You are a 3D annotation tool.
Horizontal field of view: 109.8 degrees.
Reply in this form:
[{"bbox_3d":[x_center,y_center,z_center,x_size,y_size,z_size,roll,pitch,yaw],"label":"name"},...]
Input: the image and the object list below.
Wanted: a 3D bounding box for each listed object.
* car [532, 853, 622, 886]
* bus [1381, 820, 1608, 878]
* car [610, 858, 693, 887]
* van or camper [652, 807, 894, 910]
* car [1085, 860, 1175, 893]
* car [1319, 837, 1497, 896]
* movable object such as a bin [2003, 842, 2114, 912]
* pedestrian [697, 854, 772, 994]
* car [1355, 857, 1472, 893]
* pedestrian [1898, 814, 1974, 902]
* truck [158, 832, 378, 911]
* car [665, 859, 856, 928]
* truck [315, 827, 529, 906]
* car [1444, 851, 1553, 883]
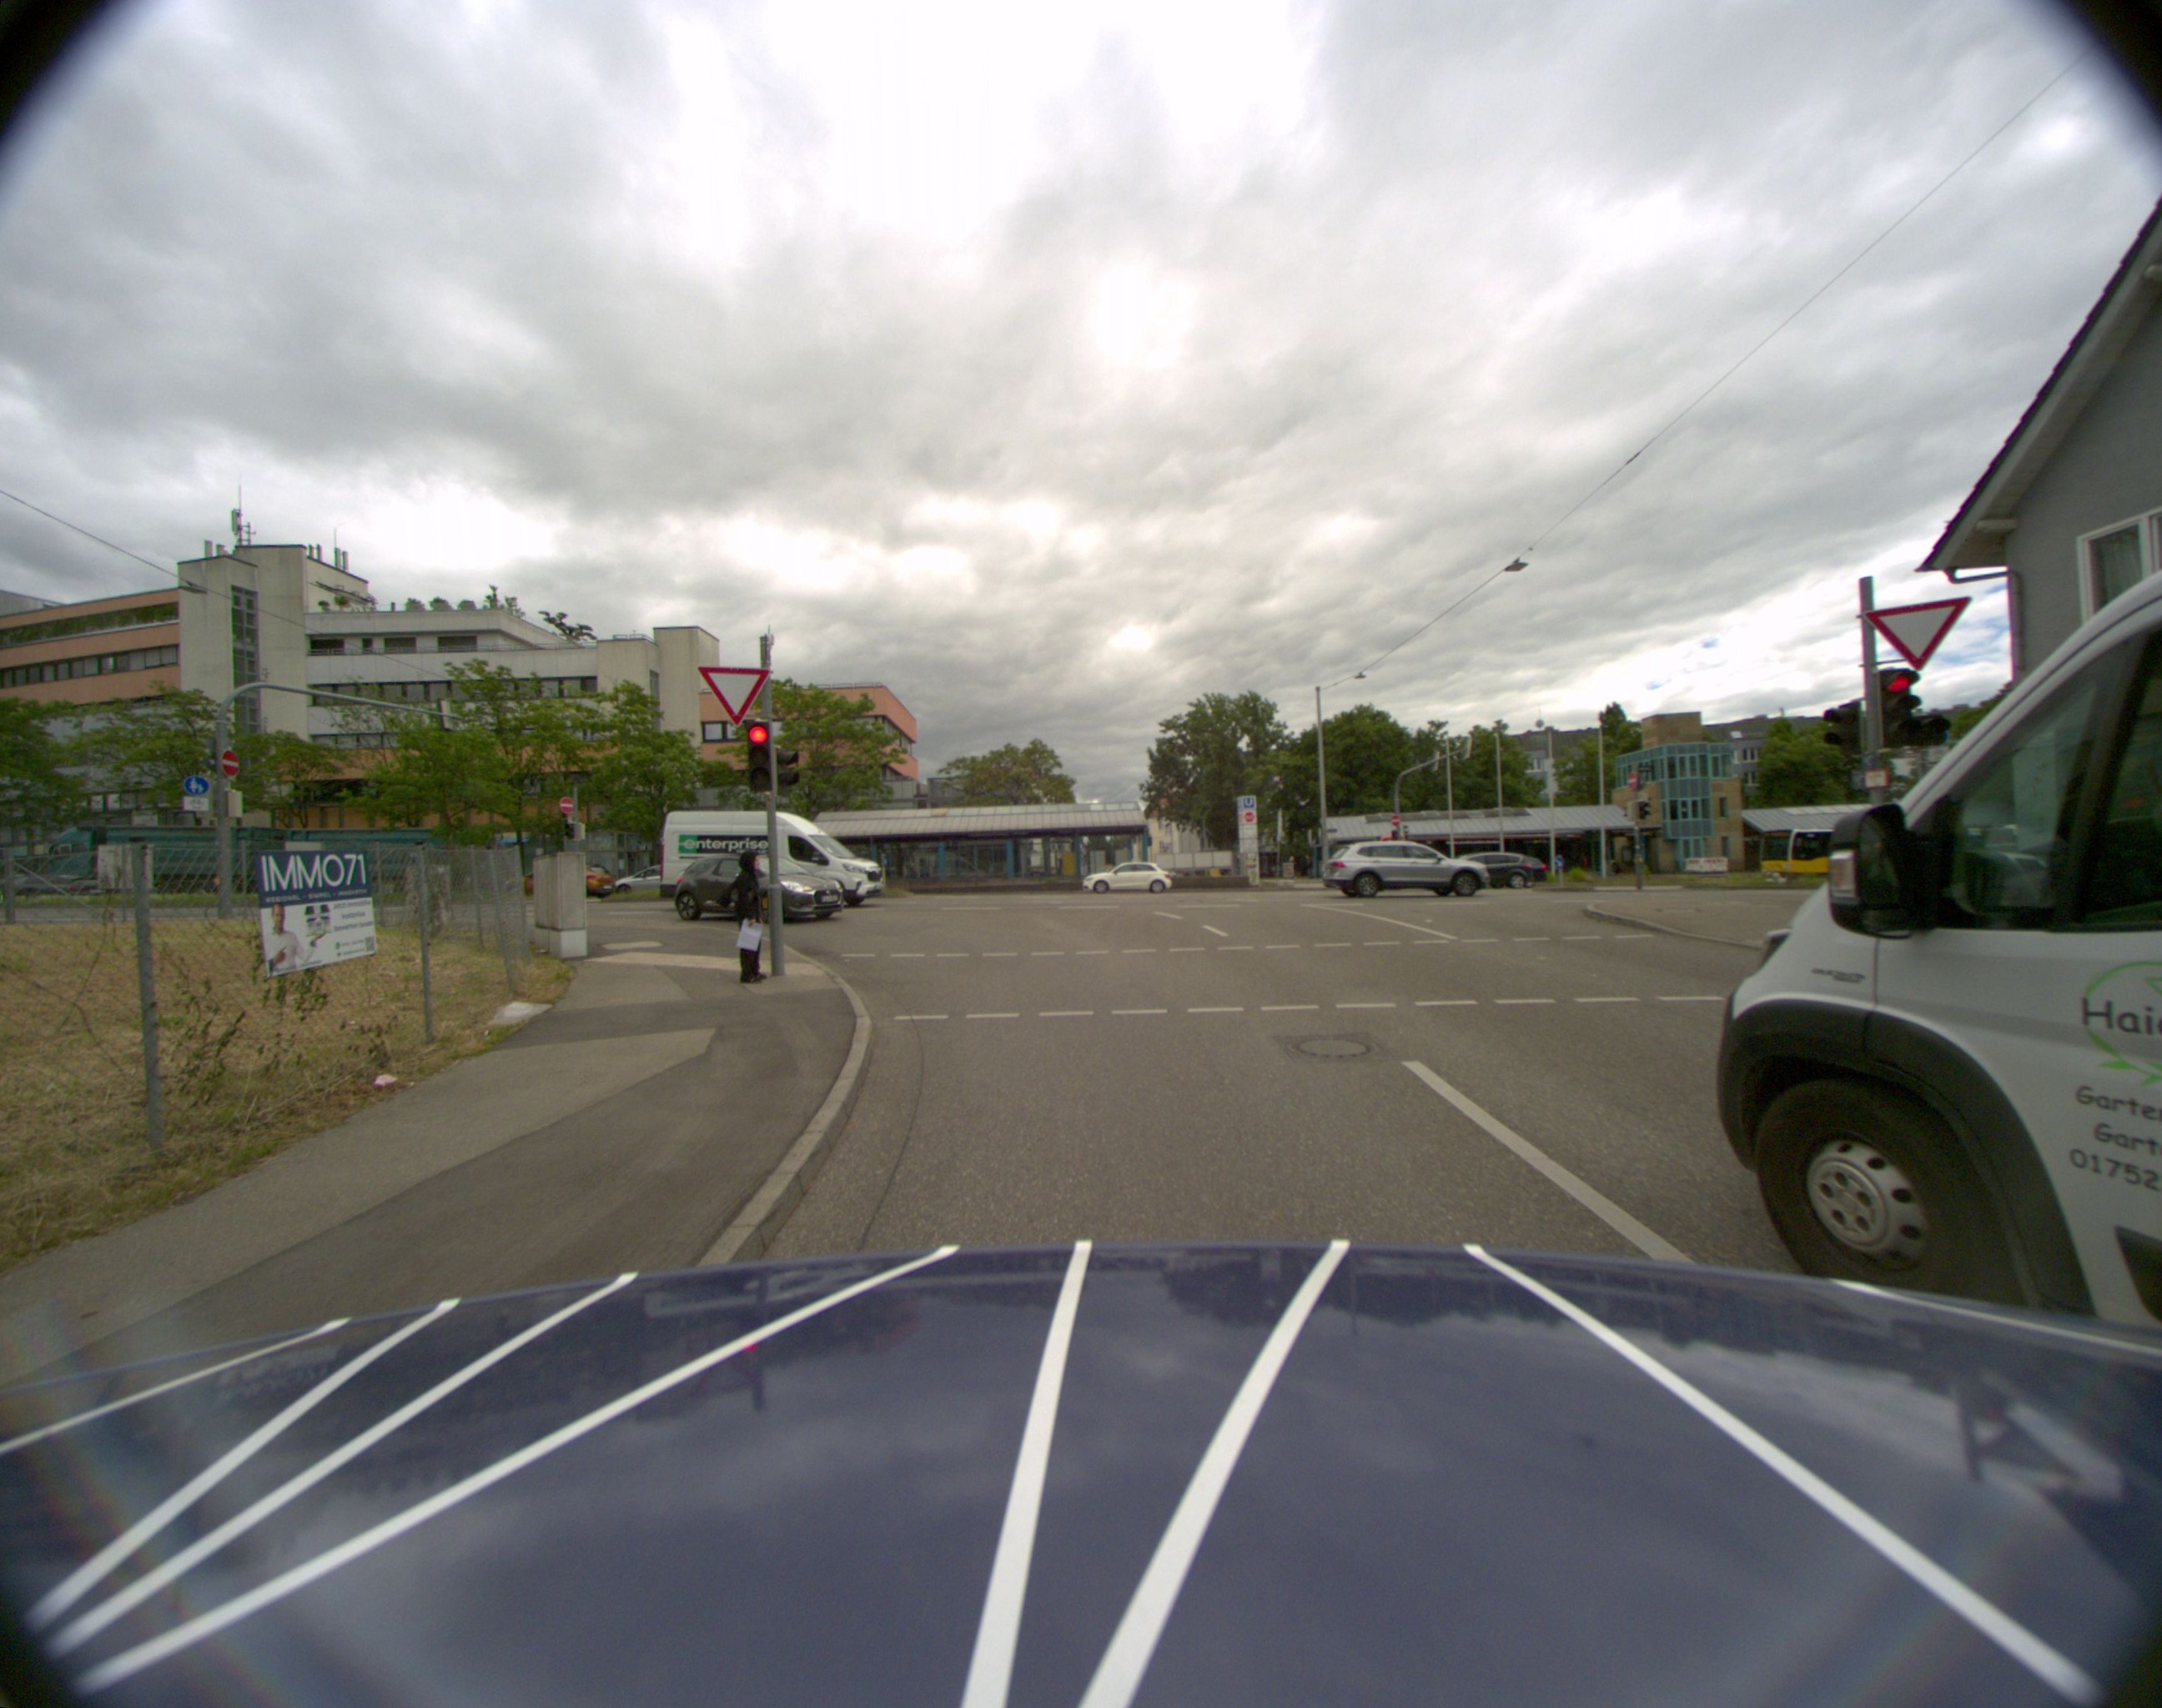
[{"bbox_3d":[-20.996,0.642,31.694,2.994,1.305,1.210,1,1,2],"label":"car"},{"bbox_3d":[24.172,-0.216,44.911,11.842,3.044,2.002,-1,-1,7],"label":"bus"},{"bbox_3d":[-19.225,0.827,34.028,2.994,1.215,1.294,1,1,2],"label":"car"},{"bbox_3d":[-8.560,0.095,21.487,5.932,2.658,2.258,1,1,3],"label":"van or camper"},{"bbox_3d":[2.198,1.008,34.203,3.932,1.372,1.631,1,1,2],"label":"car"},{"bbox_3d":[9.700,0.392,22.854,4.507,1.660,2.001,-1,-1,6],"label":"car"},{"bbox_3d":[16.389,0.368,12.764,0.841,1.128,0.764,1,1,0],"label":"movable object such as a bin"},{"bbox_3d":[-4.058,0.794,8.944,0.553,1.582,0.672,1,1,1],"label":"pedestrian"},{"bbox_3d":[13.208,0.829,30.350,3.914,1.303,1.668,-1,0,2],"label":"car"},{"bbox_3d":[18.677,0.081,16.615,0.776,1.855,0.726,1,1,-1],"label":"pedestrian"},{"bbox_3d":[-40.261,0.806,37.800,7.940,3.562,2.720,-2,1,1],"label":"truck"},{"bbox_3d":[-7.067,0.814,16.802,3.773,1.390,1.650,0,0,21],"label":"car"},{"bbox_3d":[-32.447,0.594,37.634,8.173,3.562,2.720,-2,1,1],"label":"truck"},{"bbox_3d":[18.433,0.549,33.671,3.914,1.303,1.668,1,1,2],"label":"car"}]
